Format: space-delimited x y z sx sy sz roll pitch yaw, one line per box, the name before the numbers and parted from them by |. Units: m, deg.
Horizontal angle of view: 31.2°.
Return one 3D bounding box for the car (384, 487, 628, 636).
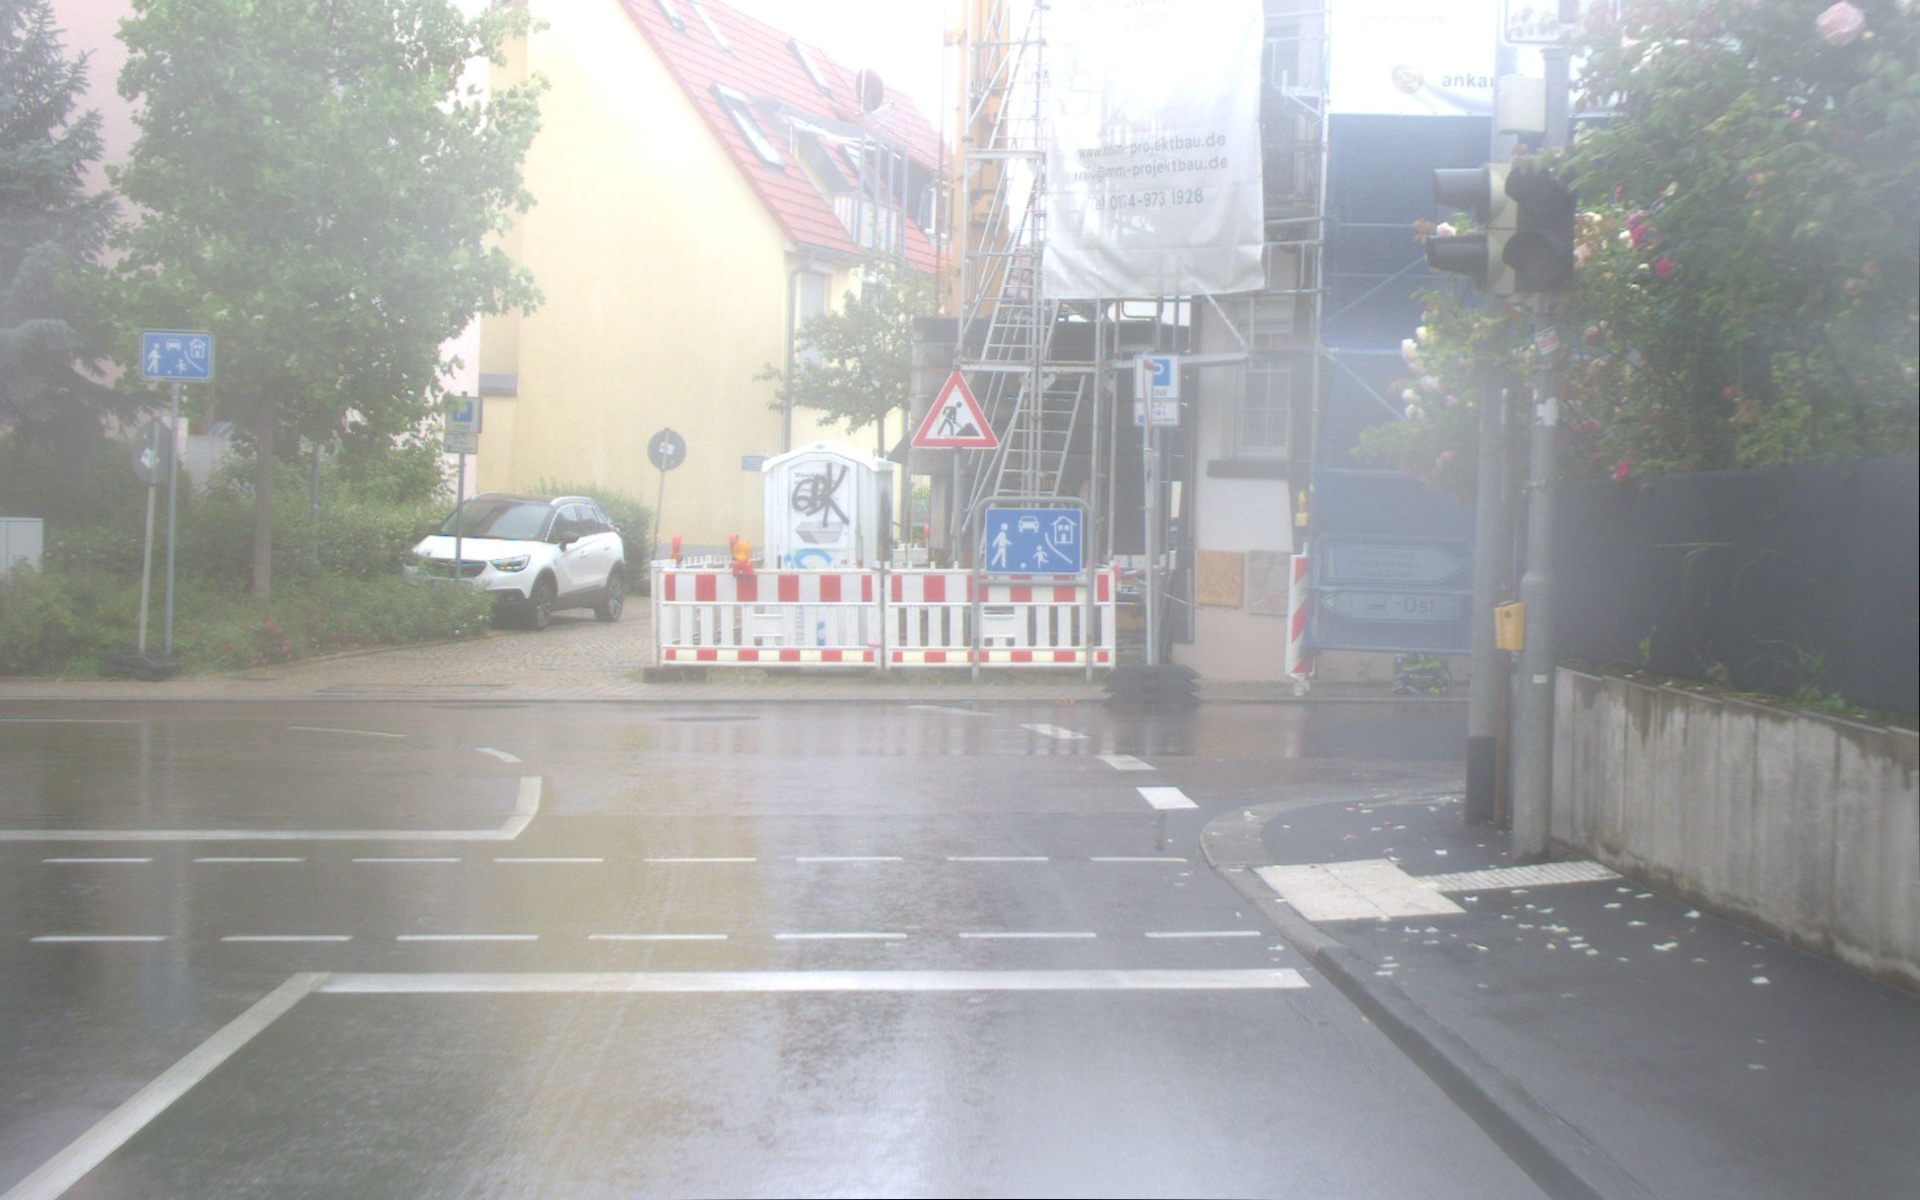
car | -5.559 -0.518 42.539 1.601 1.672 3.936 3 3 14
